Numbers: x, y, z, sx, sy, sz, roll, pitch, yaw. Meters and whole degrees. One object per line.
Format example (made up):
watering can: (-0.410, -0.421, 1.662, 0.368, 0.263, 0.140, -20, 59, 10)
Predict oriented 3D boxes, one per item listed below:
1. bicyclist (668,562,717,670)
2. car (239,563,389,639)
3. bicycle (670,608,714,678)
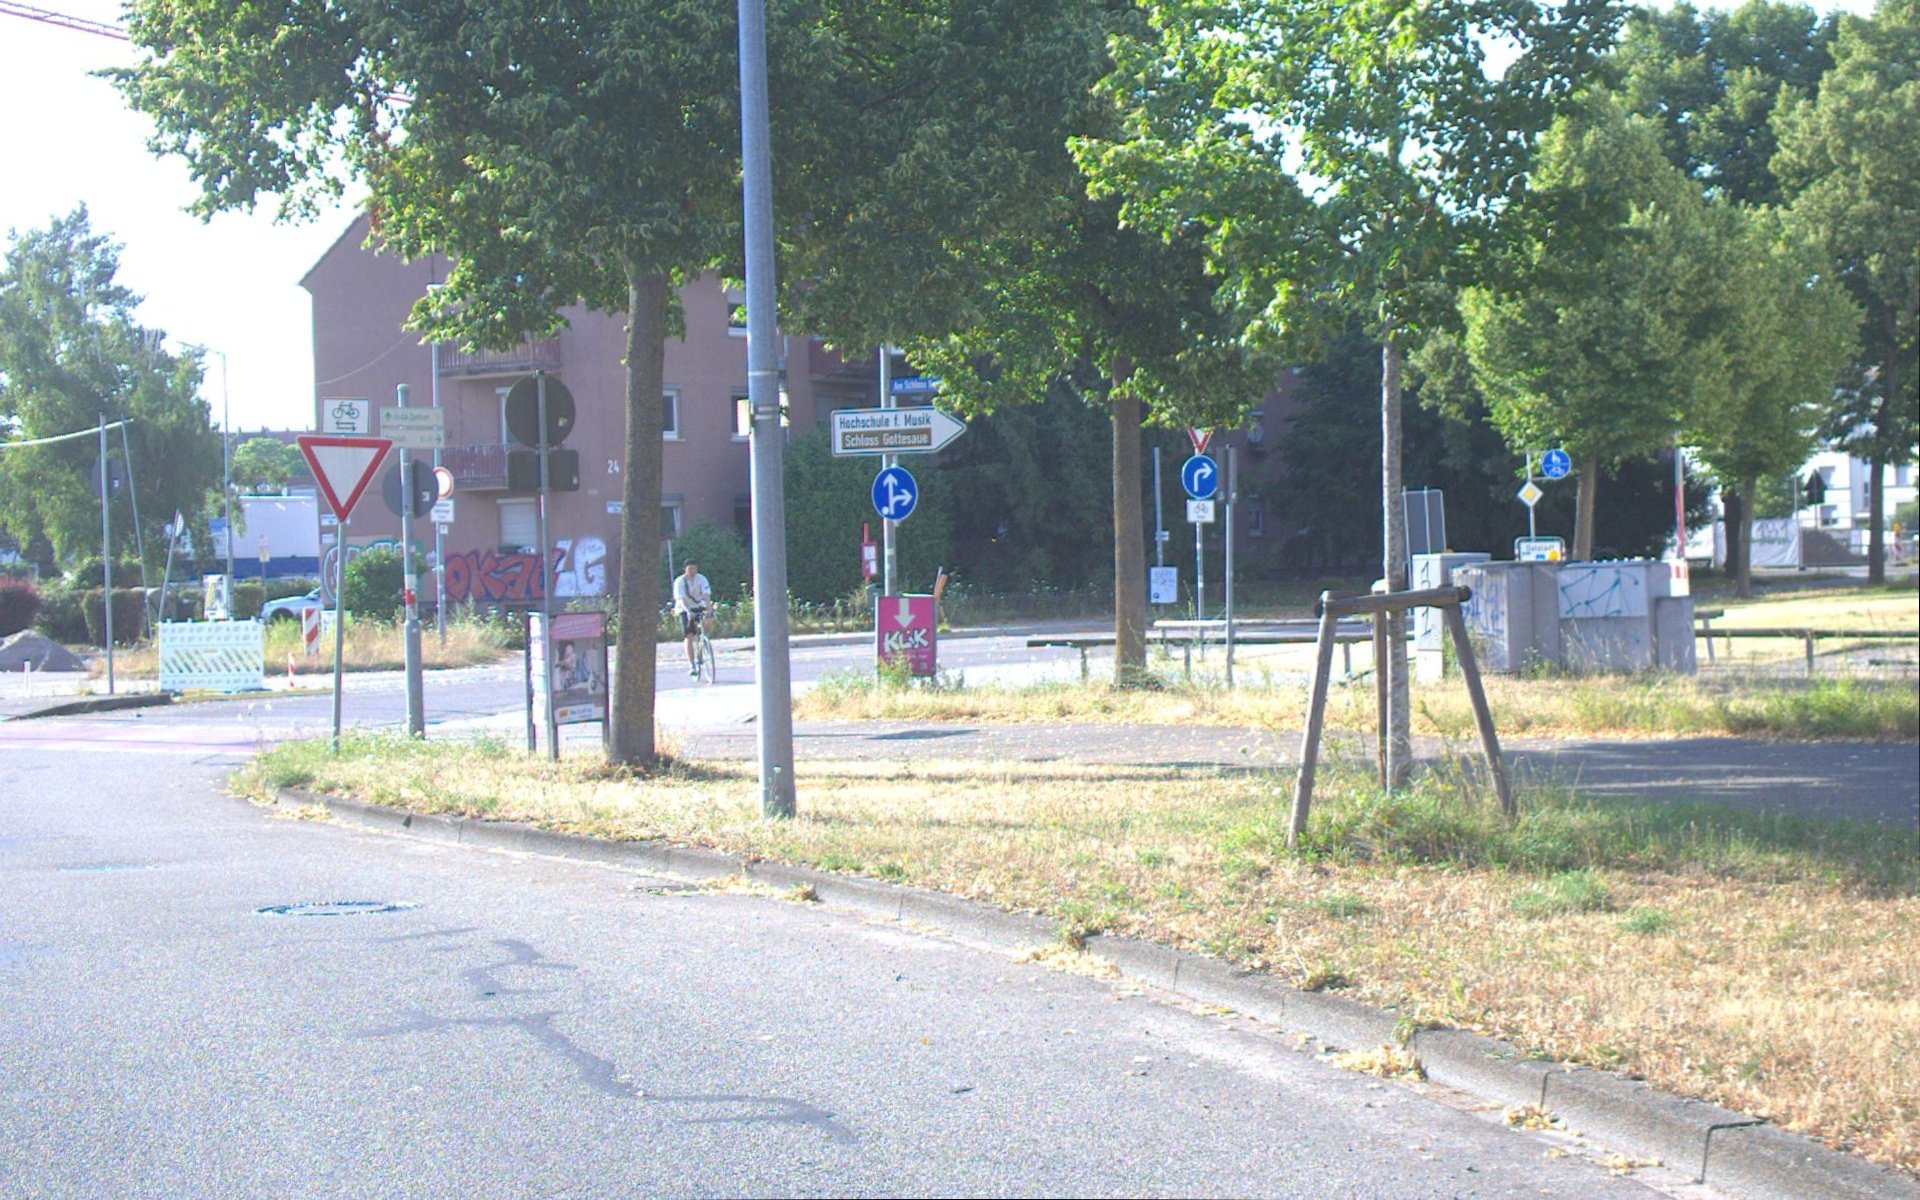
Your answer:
bicyclist: (-3.901, 0.227, 50.085, 0.658, 1.557, 0.894, -1, 1, -5)
car: (-18.030, 0.028, 95.922, 3.814, 2.007, 1.670, -1, 1, 26)
bicycle: (-3.891, 0.612, 49.935, 0.596, 0.960, 2.106, -1, 1, -4)
